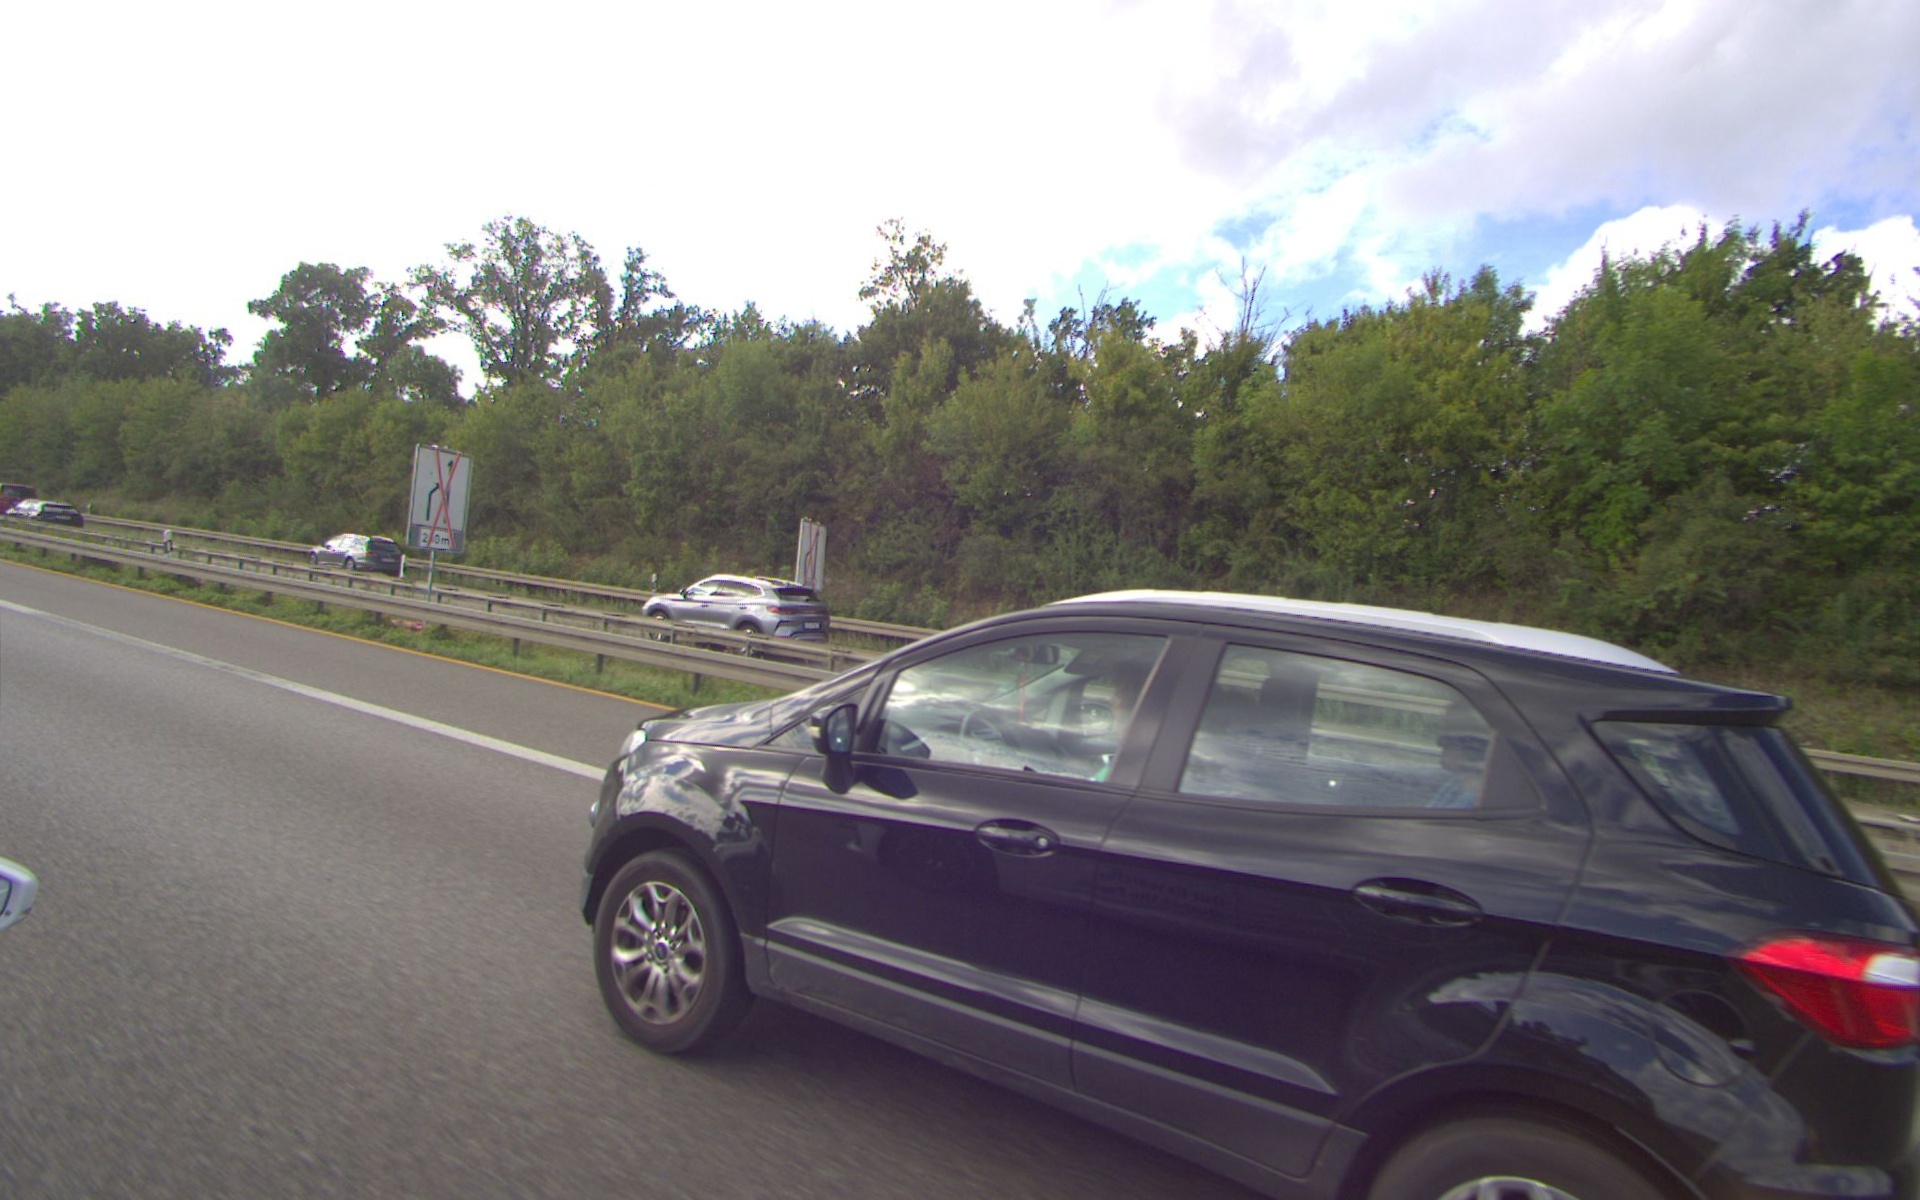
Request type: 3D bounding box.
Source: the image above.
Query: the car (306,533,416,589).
[{"bbox_3d":[-22.205,-1.458,37.259,3.934,1.615,1.756,6,-1,32],"label":"car"}]

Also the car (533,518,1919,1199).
[{"bbox_3d":[0.804,0.777,3.054,4.045,1.583,1.700,7,0,31],"label":"car"}]

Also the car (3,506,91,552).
[{"bbox_3d":[-40.205,-3.138,44.288,4.119,1.564,1.598,7,-1,30],"label":"car"}]

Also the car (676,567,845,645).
[{"bbox_3d":[-5.356,0.154,26.856,4.233,1.566,1.730,7,2,30],"label":"car"}]

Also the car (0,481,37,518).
[{"bbox_3d":[-54.820,-5.838,57.691,3.760,1.826,1.598,7,0,30],"label":"car"}]

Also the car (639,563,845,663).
[{"bbox_3d":[-4.840,0.265,22.174,4.234,1.672,1.847,7,2,32],"label":"car"}]
